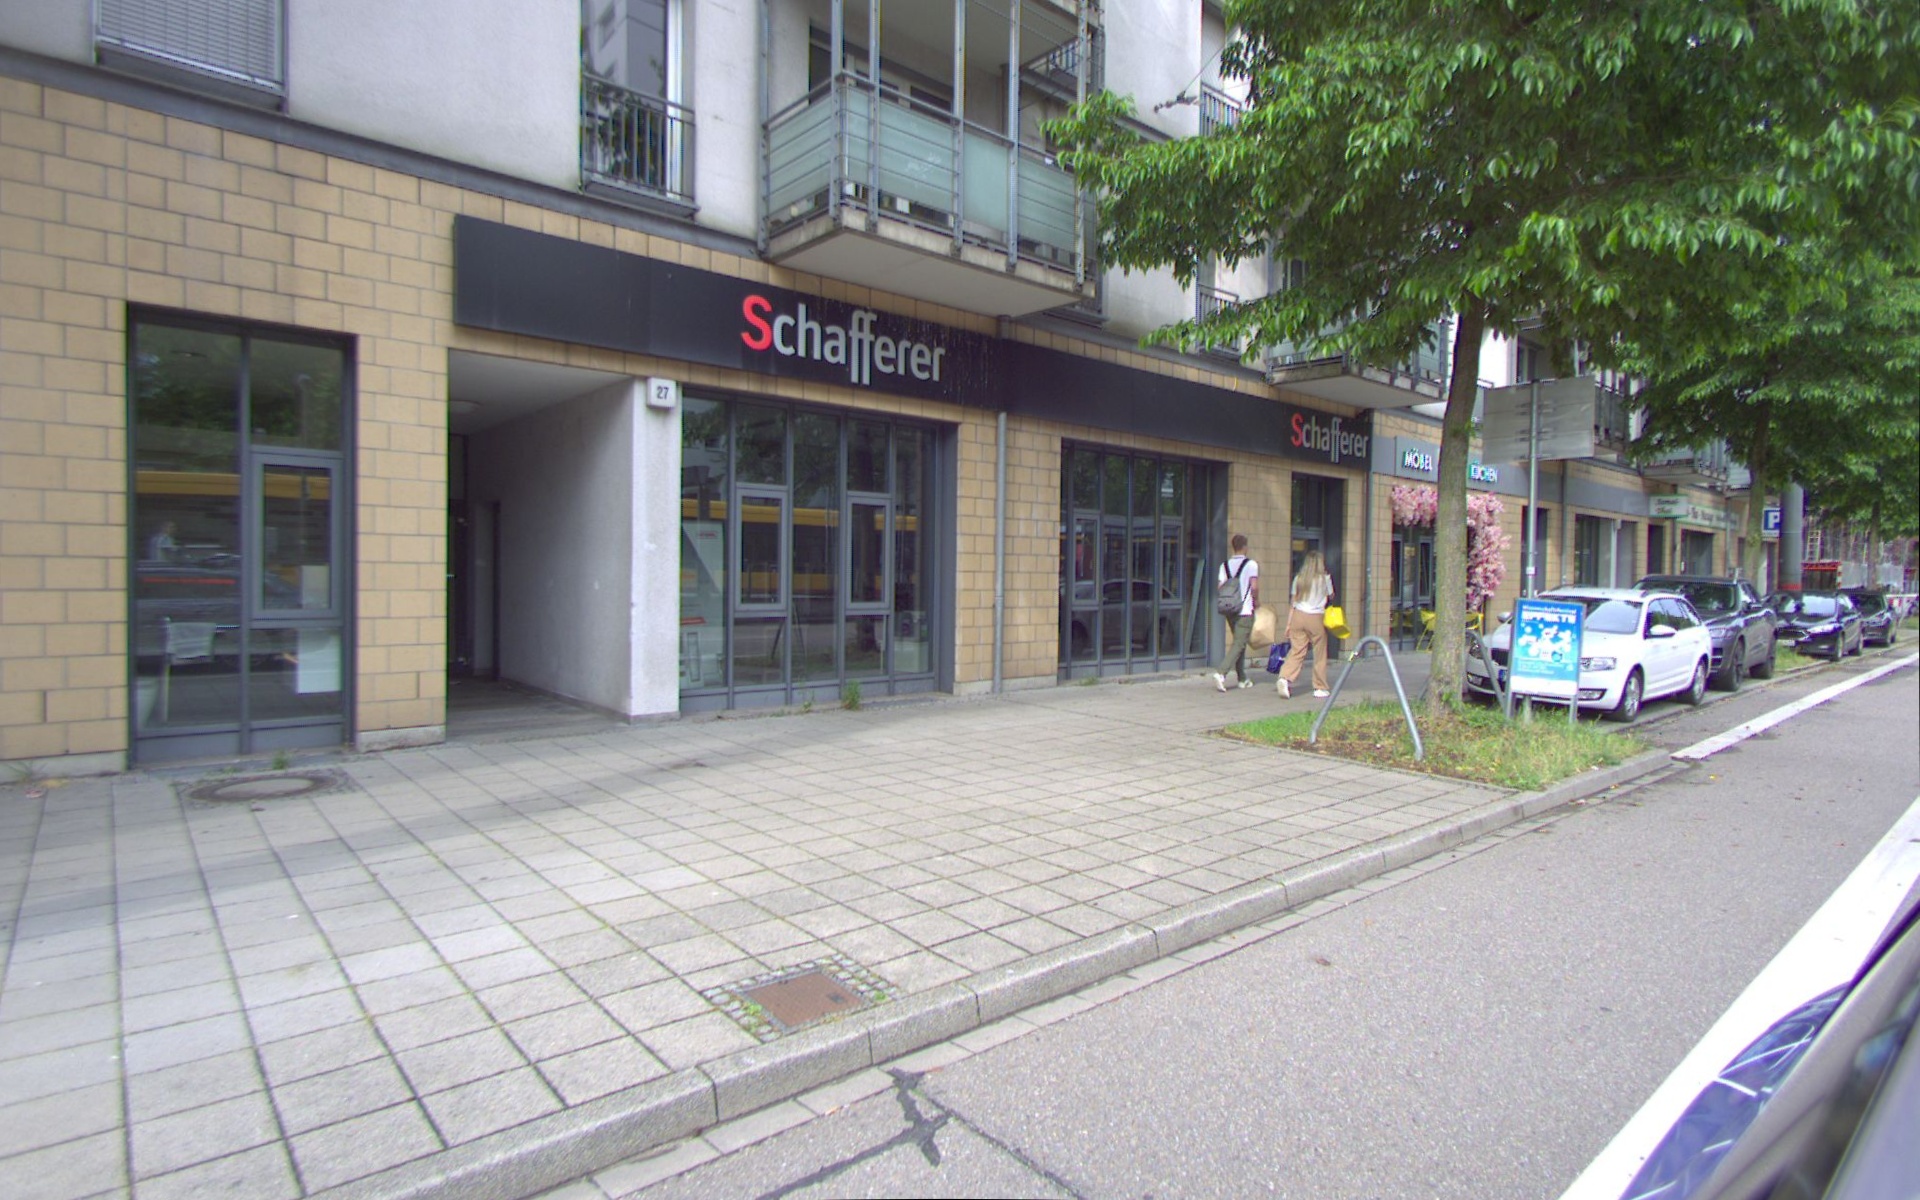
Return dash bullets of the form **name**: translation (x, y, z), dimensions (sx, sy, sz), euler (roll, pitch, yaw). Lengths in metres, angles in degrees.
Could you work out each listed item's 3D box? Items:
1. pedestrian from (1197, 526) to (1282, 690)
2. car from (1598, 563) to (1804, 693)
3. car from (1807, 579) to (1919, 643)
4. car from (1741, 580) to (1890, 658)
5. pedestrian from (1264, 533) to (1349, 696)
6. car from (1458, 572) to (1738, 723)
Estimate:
- **pedestrian**: translation (3.395, 0.075, 12.299), dimensions (0.724, 1.914, 0.677), euler (0, 2, -39)
- **car**: translation (11.955, 0.327, 16.208), dimensions (4.632, 1.737, 1.715), euler (-1, 4, -42)
- **car**: translation (24.310, 0.228, 27.194), dimensions (4.315, 1.472, 1.800), euler (-1, 5, -43)
- **car**: translation (18.723, 0.331, 22.087), dimensions (4.329, 1.459, 1.681), euler (-1, 4, -40)
- **pedestrian**: translation (4.037, 0.152, 11.787), dimensions (0.724, 1.828, 0.617), euler (0, 2, -39)
- **car**: translation (8.132, 0.462, 12.747), dimensions (4.312, 1.517, 1.681), euler (-1, 4, -40)
